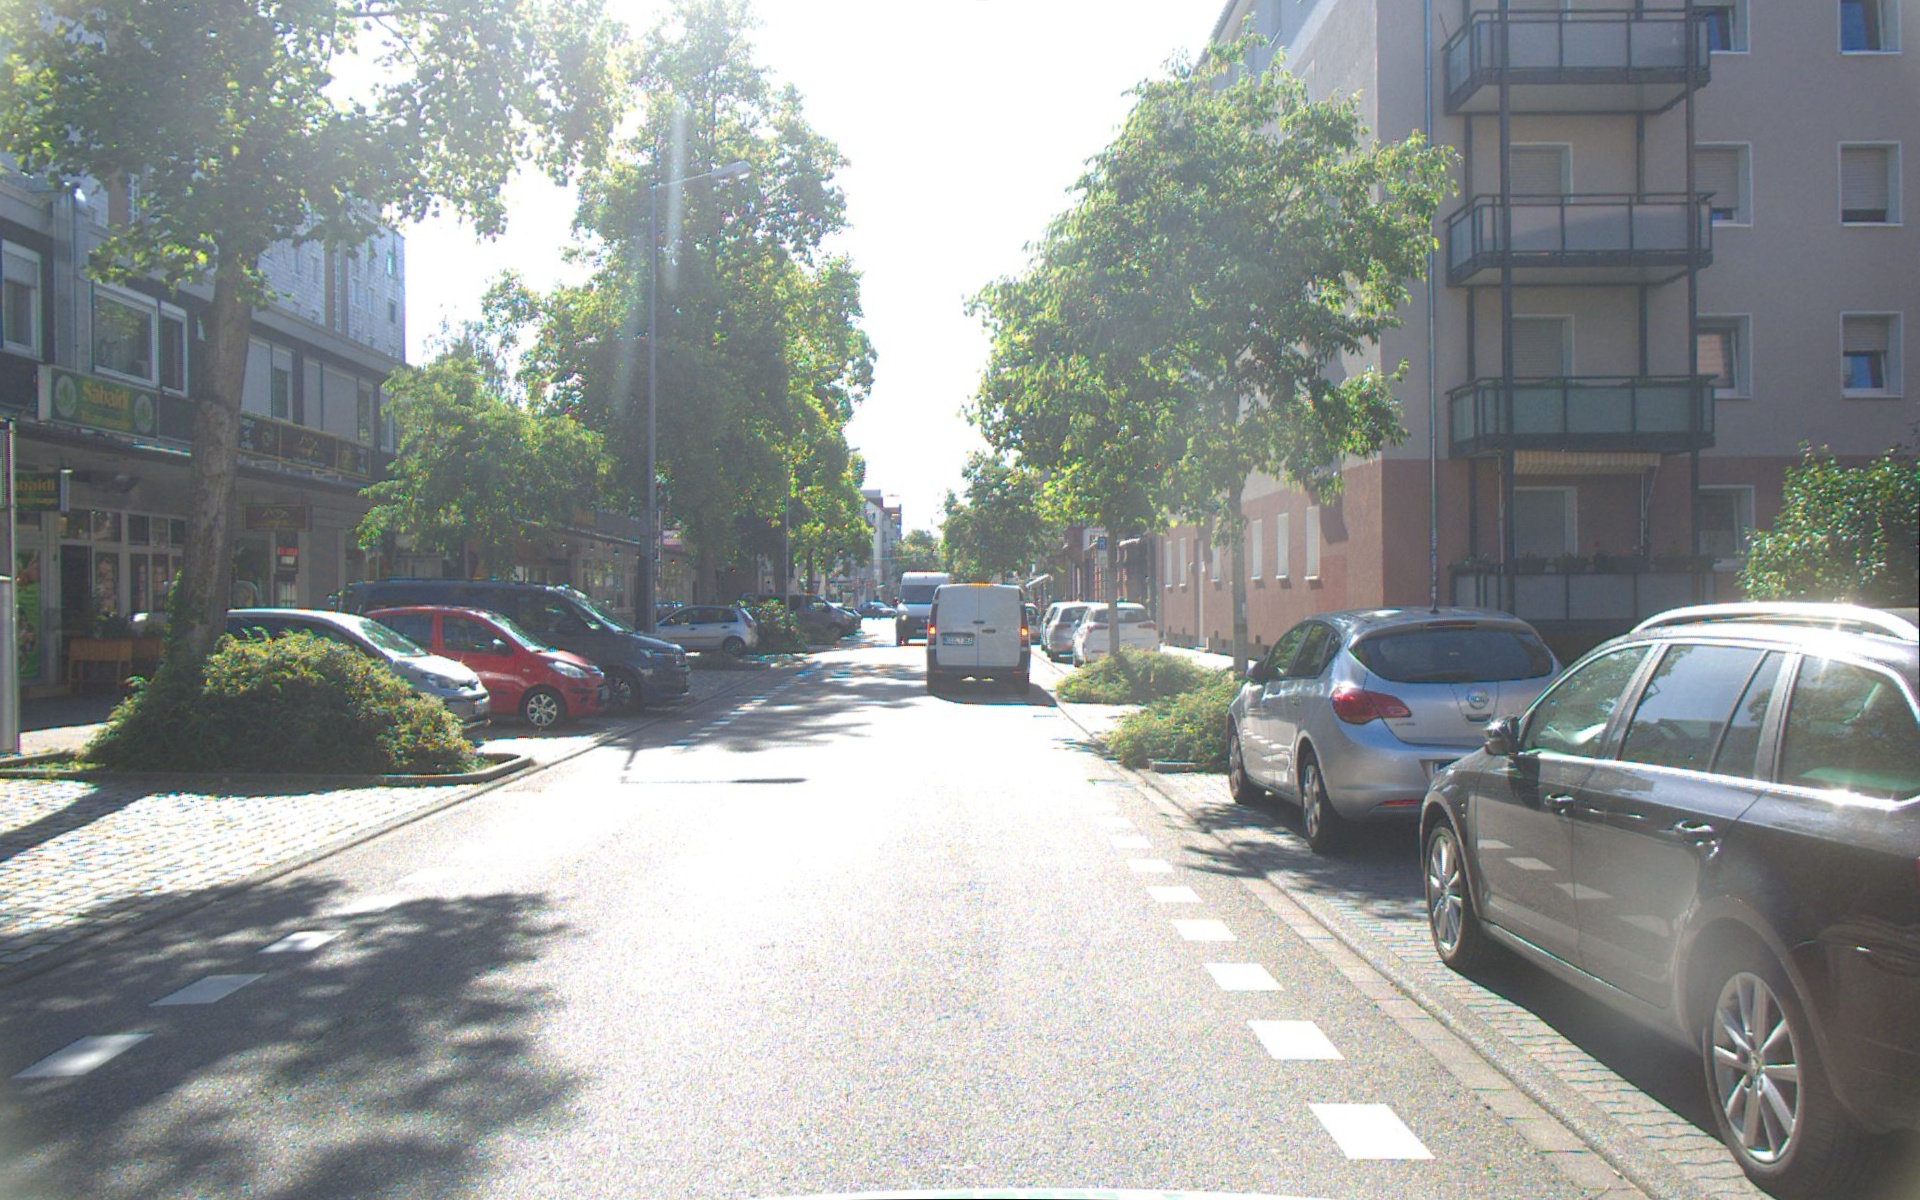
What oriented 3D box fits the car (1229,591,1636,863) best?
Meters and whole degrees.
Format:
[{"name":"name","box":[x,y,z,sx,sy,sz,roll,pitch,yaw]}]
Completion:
[{"name":"car","box":[3.018,0.723,11.403,1.704,1.546,3.858,0,0,0]}]

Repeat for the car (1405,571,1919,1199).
[{"name":"car","box":[2.929,0.684,5.430,1.746,1.546,4.308,-2,0,0]}]

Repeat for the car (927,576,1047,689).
[{"name":"car","box":[0.406,0.542,31.213,2.058,1.941,5.423,0,0,-1]}]

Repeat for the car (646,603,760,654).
[{"name":"car","box":[-7.366,0.805,47.572,3.036,1.433,1.661,0,0,-2]}]

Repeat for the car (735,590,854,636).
[{"name":"car","box":[-7.224,0.556,72.474,5.107,2.016,1.661,0,0,-2]}]

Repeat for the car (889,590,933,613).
[{"name":"car","box":[-4.460,0.141,151.062,3.909,2.049,1.998,-1,0,-5]}]

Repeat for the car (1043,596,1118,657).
[{"name":"car","box":[3.163,0.670,44.055,1.704,1.546,3.858,0,0,0]}]

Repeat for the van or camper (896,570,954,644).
[{"name":"van or camper","box":[-1.224,0.224,59.658,1.953,2.518,5.819,-1,0,0]}]

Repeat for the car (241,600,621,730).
[{"name":"car","box":[-6.941,0.830,22.034,4.533,1.638,1.661,0,1,-2]}]

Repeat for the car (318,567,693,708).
[{"name":"car","box":[-6.655,0.536,24.594,5.107,2.016,1.661,0,0,-2]}]

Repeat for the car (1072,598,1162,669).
[{"name":"car","box":[3.592,0.729,38.340,1.704,1.546,3.858,0,0,0]}]

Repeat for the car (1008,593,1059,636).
[{"name":"car","box":[2.717,0.521,61.605,1.704,1.546,3.858,0,0,0]}]
